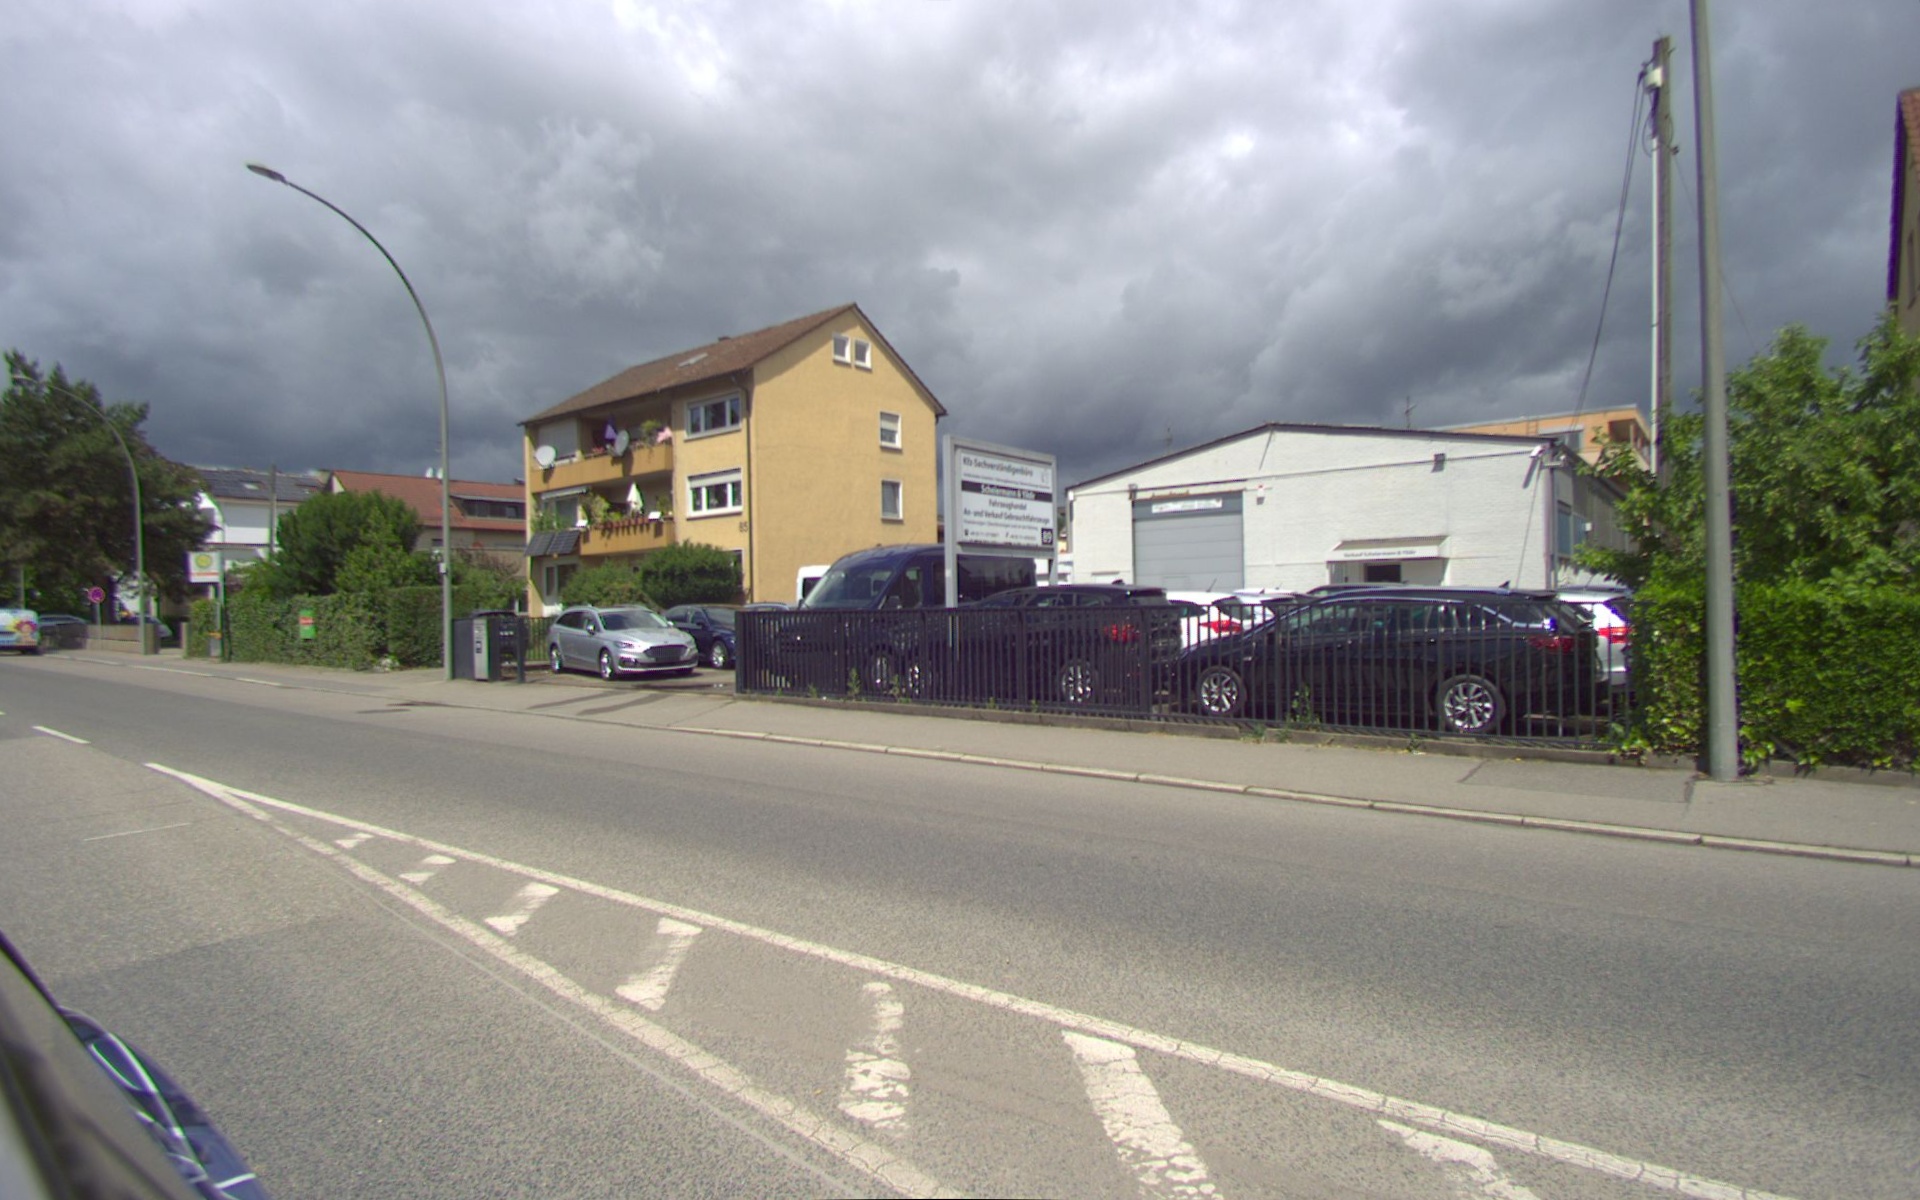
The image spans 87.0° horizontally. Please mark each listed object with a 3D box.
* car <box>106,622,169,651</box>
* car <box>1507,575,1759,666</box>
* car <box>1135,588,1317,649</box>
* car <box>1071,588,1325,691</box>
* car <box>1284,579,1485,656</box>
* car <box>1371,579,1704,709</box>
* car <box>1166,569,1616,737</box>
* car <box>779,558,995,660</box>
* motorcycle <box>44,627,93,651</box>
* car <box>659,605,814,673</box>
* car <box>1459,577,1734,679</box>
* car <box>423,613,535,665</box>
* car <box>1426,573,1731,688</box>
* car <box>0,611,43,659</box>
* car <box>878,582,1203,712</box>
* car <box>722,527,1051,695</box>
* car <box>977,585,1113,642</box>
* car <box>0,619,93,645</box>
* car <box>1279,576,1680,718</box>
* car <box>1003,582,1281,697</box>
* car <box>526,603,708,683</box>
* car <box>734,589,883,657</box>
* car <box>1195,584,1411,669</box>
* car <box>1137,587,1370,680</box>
[{"bbox_3d":[-45.735,2.000,56.269,4.079,1.555,1.751,-1,-1,36],"label":"car"},{"bbox_3d":[13.219,0.407,20.085,3.990,1.630,1.761,-1,-1,35],"label":"car"},{"bbox_3d":[8.056,0.567,30.909,4.998,1.726,2.030,-1,-1,37],"label":"car"},{"bbox_3d":[4.131,0.658,17.810,3.990,1.630,1.761,-1,-1,35],"label":"car"},{"bbox_3d":[9.685,0.407,23.185,3.990,1.630,1.761,-1,-1,35],"label":"car"},{"bbox_3d":[8.275,0.588,14.658,3.994,1.630,1.759,-1,-1,38],"label":"car"},{"bbox_3d":[4.736,0.524,11.344,4.260,1.518,2.133,-1,-1,37],"label":"car"},{"bbox_3d":[-2.123,0.303,27.885,6.134,2.514,2.386,-1,-3,43],"label":"car"},{"bbox_3d":[-46.806,2.043,53.134,1.845,1.174,0.827,0,-1,-34],"label":"motorcycle"},{"bbox_3d":[-5.348,0.875,23.841,1.821,1.437,4.338,0,-1,-39],"label":"car"},{"bbox_3d":[11.305,0.487,18.175,3.990,1.630,1.761,-1,-1,35],"label":"car"},{"bbox_3d":[-14.393,1.118,30.172,1.823,1.437,4.335,0,-1,-43],"label":"car"},{"bbox_3d":[9.838,0.463,16.252,3.994,1.630,1.759,-1,-1,38],"label":"car"},{"bbox_3d":[-39.596,1.465,41.770,4.891,1.868,1.815,-2,-5,40],"label":"car"},{"bbox_3d":[1.082,0.628,14.609,4.277,1.607,2.013,-1,-1,37],"label":"car"},{"bbox_3d":[-1.078,0.194,18.222,2.475,2.515,5.977,-1,-1,39],"label":"car"},{"bbox_3d":[2.823,0.469,34.136,4.328,1.805,1.826,-1,-1,41],"label":"car"},{"bbox_3d":[-60.756,2.080,66.871,1.970,1.563,4.960,-1,0,38],"label":"car"},{"bbox_3d":[6.542,0.538,12.923,4.260,1.518,2.134,-1,-1,37],"label":"car"},{"bbox_3d":[2.843,0.592,16.128,3.990,1.630,1.761,-1,-1,35],"label":"car"},{"bbox_3d":[-7.580,0.862,21.979,1.968,1.497,5.349,0,-1,-40],"label":"car"},{"bbox_3d":[-3.956,0.574,25.898,1.821,1.589,4.338,0,-1,-39],"label":"car"},{"bbox_3d":[7.178,0.540,21.306,3.990,1.630,1.761,-1,-1,35],"label":"car"},{"bbox_3d":[5.642,0.629,19.613,3.990,1.630,1.761,-1,-1,35],"label":"car"}]
